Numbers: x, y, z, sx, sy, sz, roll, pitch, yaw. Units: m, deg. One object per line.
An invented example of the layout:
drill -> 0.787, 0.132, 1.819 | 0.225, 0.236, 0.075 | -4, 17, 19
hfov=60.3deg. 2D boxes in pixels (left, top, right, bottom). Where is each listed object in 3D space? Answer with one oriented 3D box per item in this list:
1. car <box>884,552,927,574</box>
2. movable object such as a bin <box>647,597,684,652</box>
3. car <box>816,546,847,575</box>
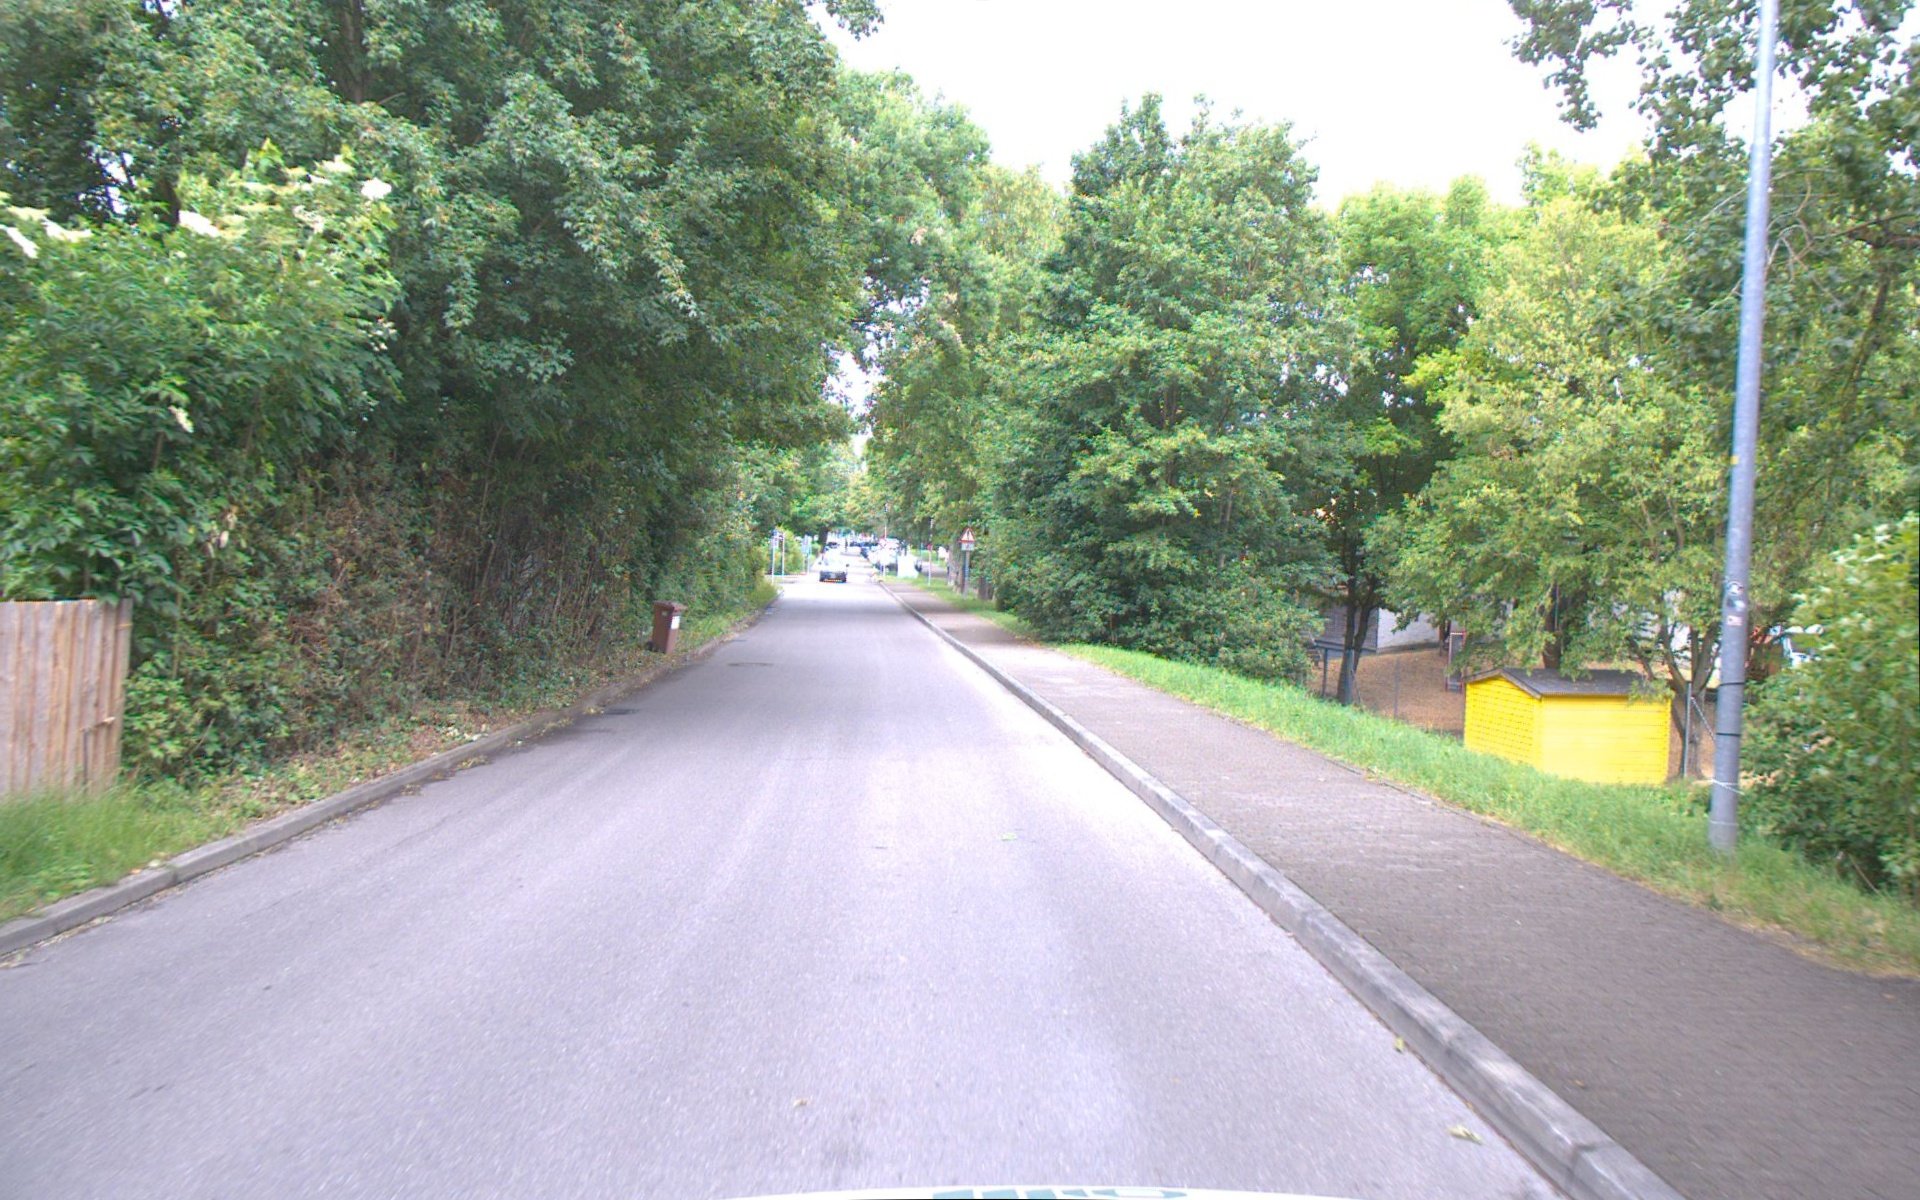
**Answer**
car -> -5.023, -3.422, 153.068 | 3.907, 1.803, 1.999 | 2, 0, -3
movable object such as a bin -> -5.357, 0.445, 30.110 | 0.578, 0.974, 0.469 | 2, -1, -3
car -> -8.694, -2.661, 112.272 | 1.954, 1.803, 3.998 | 2, 0, -3
